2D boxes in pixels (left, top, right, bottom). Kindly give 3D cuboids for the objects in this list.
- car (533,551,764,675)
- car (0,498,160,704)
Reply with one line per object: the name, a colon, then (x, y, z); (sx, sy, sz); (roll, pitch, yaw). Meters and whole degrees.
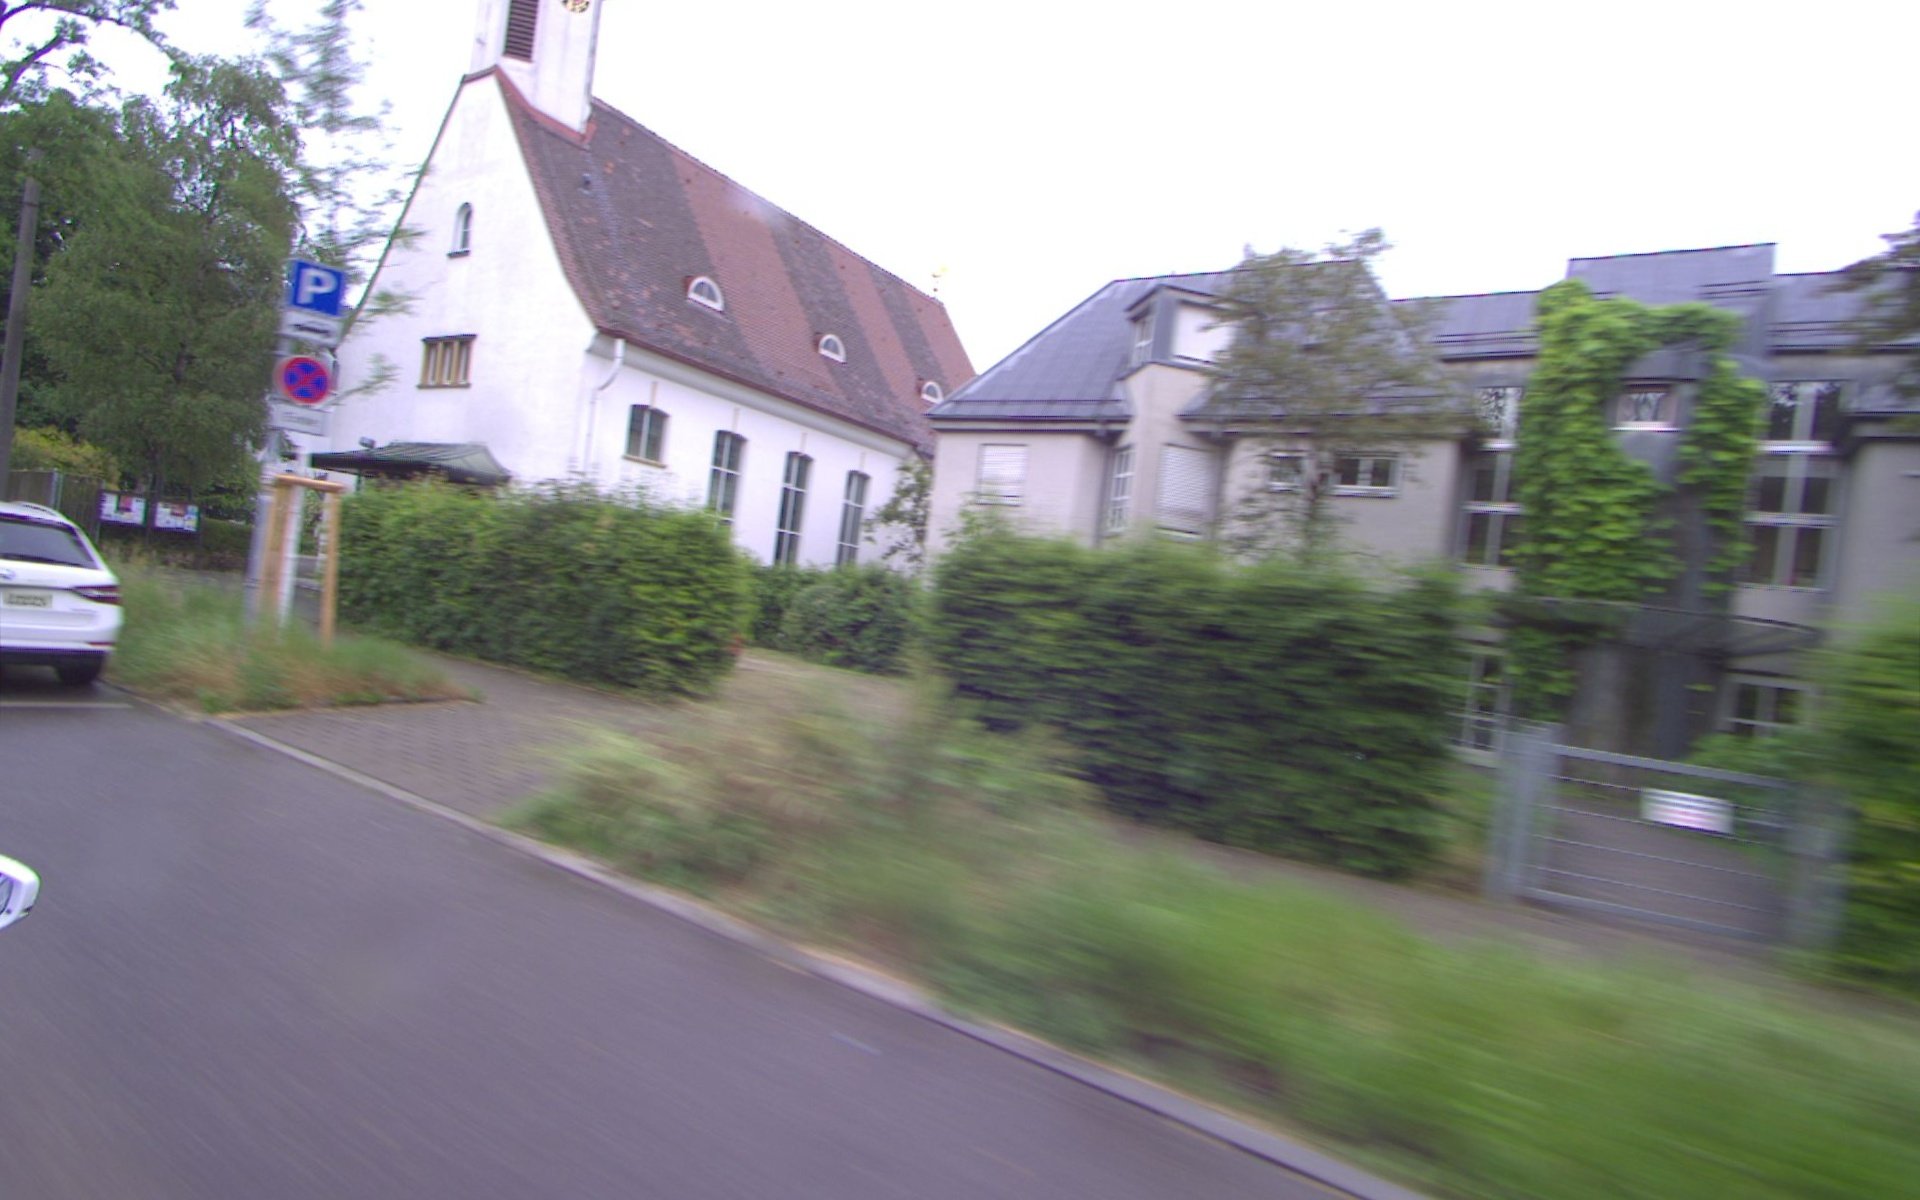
car: (-4.961, 0.187, 15.928); (3.335, 1.538, 1.646); (7, 0, 34)
car: (-8.894, -0.205, 8.590); (4.474, 1.491, 1.799); (7, -2, 33)
